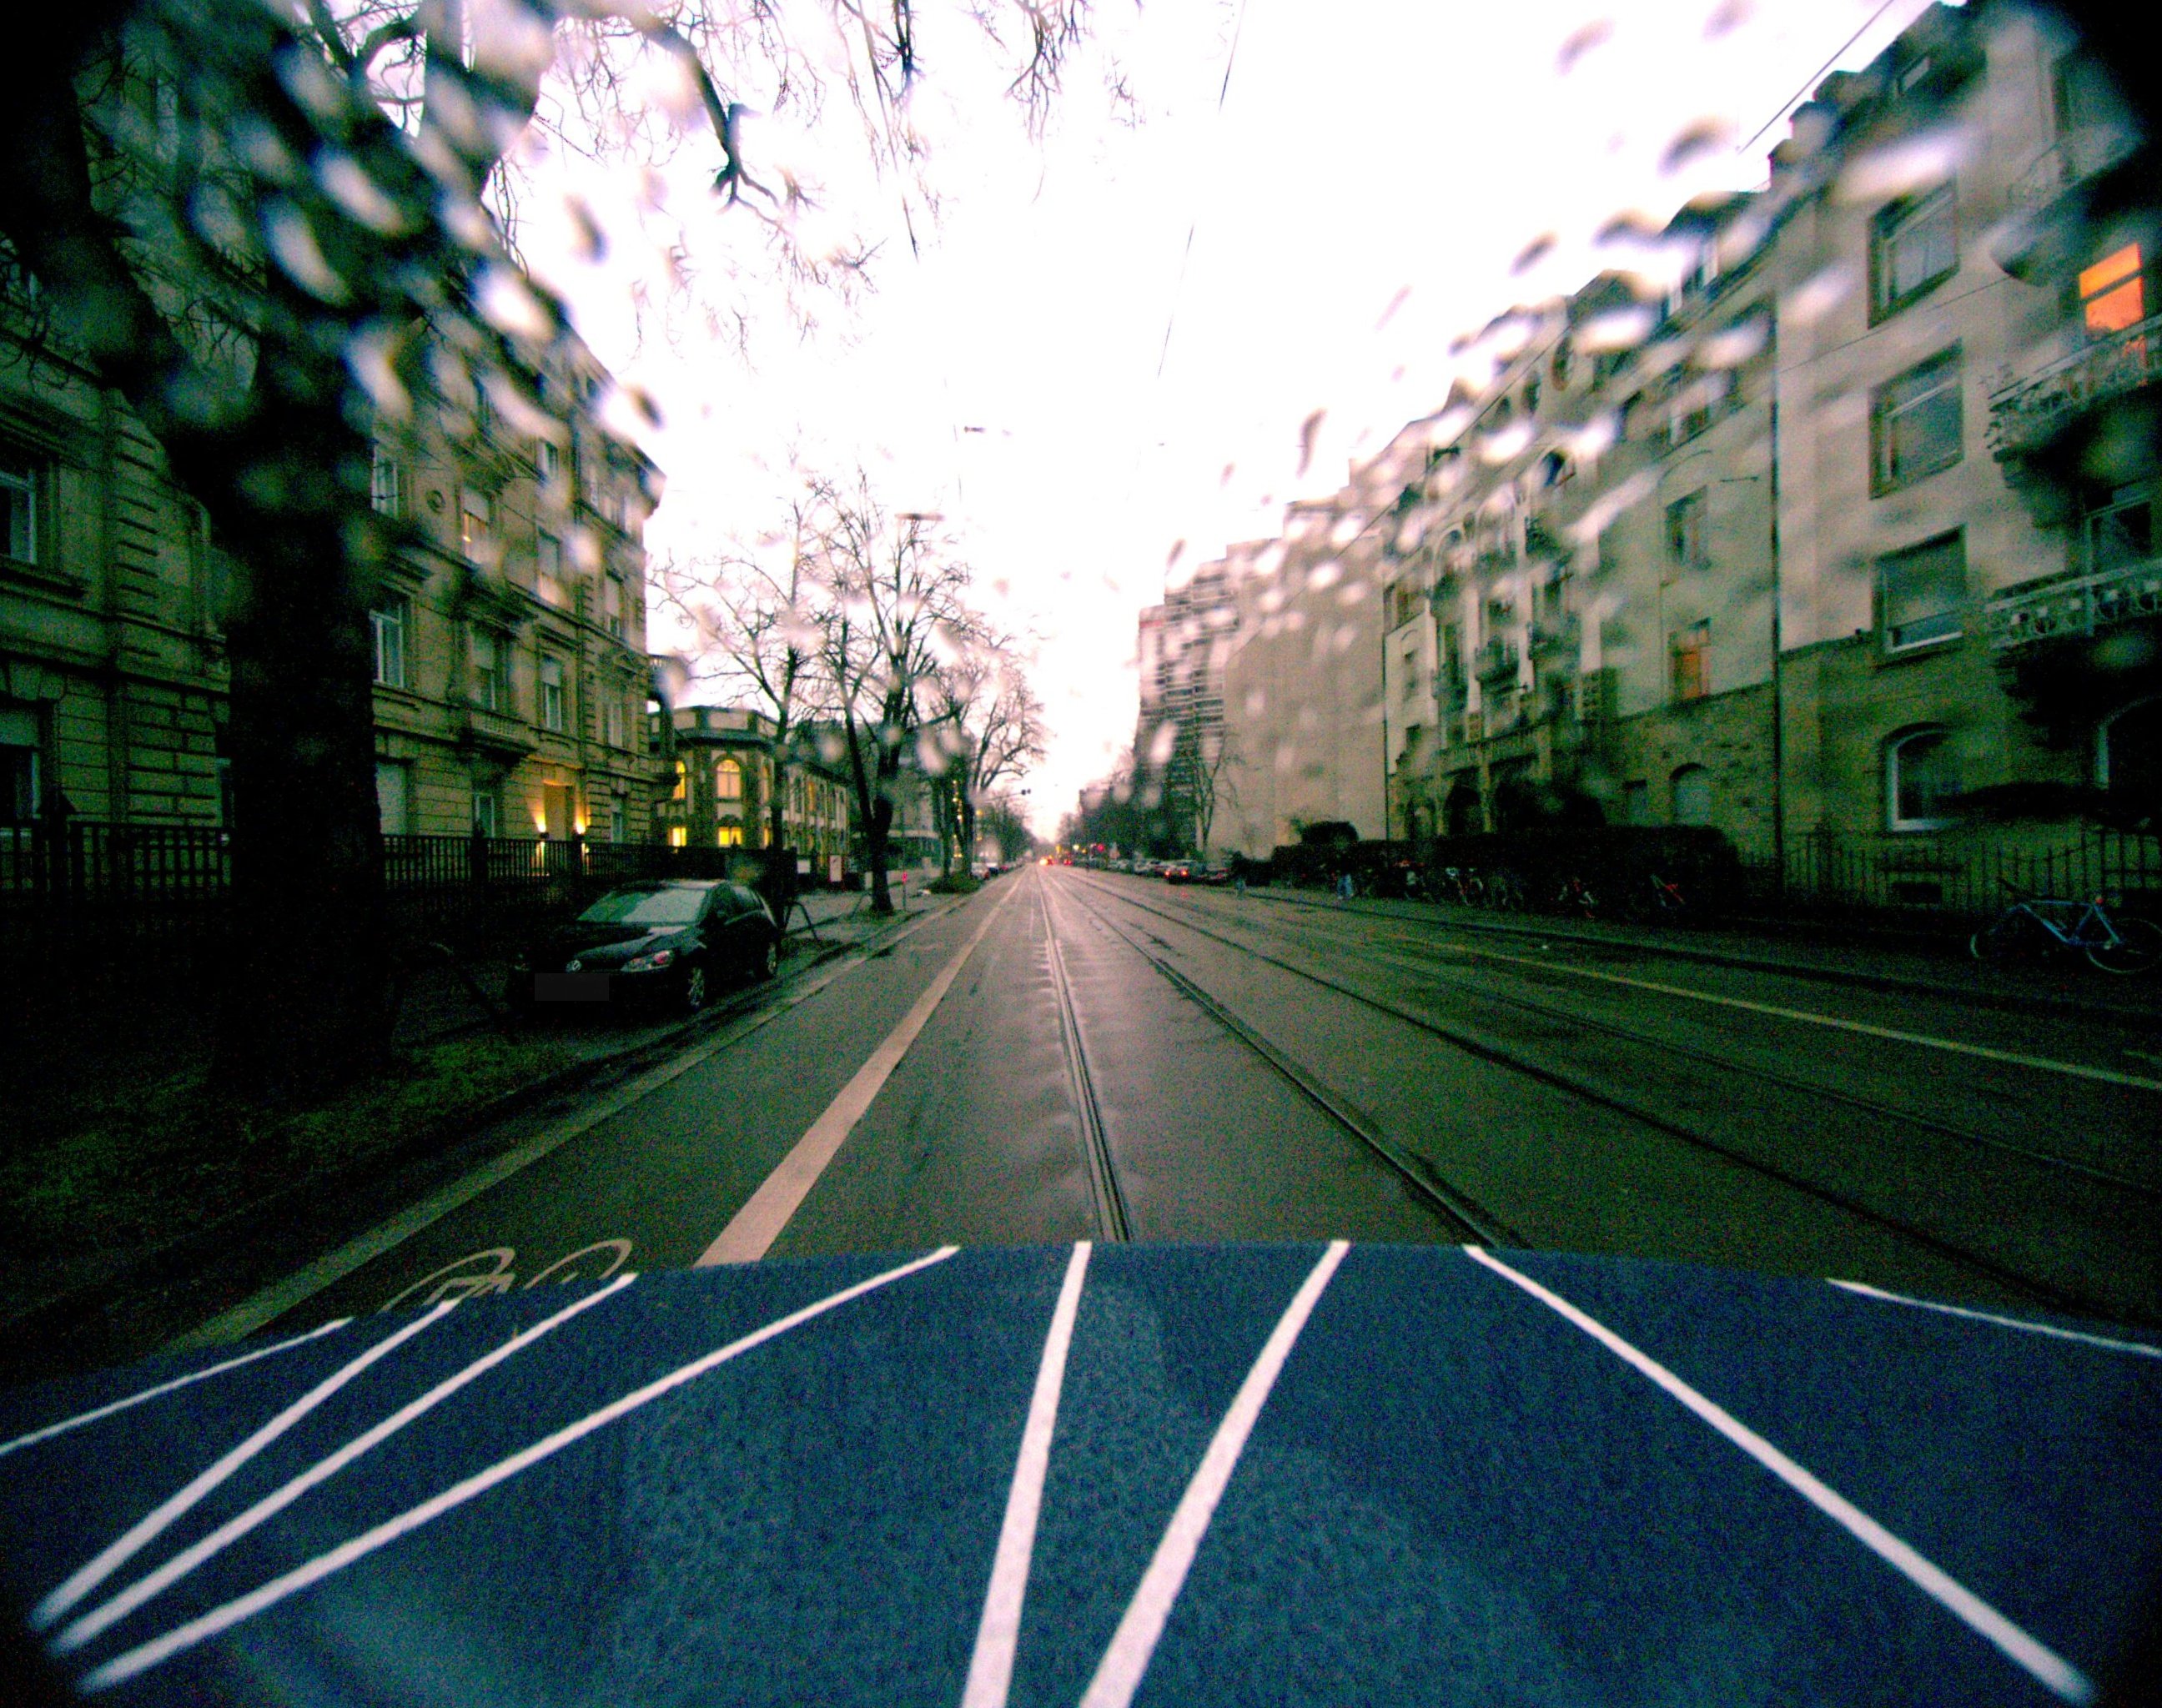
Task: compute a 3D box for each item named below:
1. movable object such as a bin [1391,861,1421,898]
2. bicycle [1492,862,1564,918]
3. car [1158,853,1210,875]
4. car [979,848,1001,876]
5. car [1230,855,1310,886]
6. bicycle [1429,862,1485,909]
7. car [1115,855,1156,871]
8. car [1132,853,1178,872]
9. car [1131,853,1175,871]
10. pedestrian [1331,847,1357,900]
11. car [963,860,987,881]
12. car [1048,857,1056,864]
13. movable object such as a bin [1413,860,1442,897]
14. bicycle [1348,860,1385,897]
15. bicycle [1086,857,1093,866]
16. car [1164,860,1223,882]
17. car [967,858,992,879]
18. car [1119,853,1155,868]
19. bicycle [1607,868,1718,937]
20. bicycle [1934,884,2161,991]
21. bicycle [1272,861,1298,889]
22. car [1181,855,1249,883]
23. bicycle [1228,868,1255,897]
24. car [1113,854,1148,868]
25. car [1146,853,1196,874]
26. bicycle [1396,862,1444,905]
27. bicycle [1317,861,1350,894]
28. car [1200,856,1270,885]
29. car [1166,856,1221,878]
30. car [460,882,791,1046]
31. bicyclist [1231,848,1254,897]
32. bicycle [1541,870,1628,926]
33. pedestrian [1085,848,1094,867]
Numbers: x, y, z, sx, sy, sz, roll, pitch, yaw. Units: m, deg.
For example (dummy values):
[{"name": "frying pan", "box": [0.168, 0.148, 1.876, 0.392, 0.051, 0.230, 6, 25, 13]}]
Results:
[{"name": "movable object such as a bin", "box": [10.552, 0.823, 24.670, 0.659, 1.157, 0.674, -1, 0, -1]}, {"name": "bicycle", "box": [10.245, 0.800, 17.478, 0.625, 1.205, 1.662, -1, 0, -1]}, {"name": "car", "box": [8.243, 0.805, 60.462, 4.008, 1.586, 1.864, -2, 0, -40]}, {"name": "car", "box": [-9.170, 0.750, 77.023, 2.094, 2.622, 5.446, -2, 1, -6]}, {"name": "car", "box": [10.140, 0.868, 40.713, 4.006, 1.485, 1.864, -2, 0, -32]}, {"name": "bicycle", "box": [9.984, 0.810, 20.231, 0.625, 1.157, 1.662, -1, 0, -1]}, {"name": "car", "box": [5.591, 0.905, 77.794, 4.008, 1.586, 1.864, -2, 0, -40]}, {"name": "car", "box": [6.813, 0.795, 69.517, 4.008, 1.586, 1.864, -2, 0, -40]}, {"name": "car", "box": [6.890, 0.773, 72.770, 4.008, 1.586, 1.864, -2, 0, -40]}, {"name": "pedestrian", "box": [8.739, 0.638, 25.238, 0.574, 1.715, 0.644, -3, 2, 1]}, {"name": "car", "box": [-7.955, 1.215, 57.180, 1.628, 1.399, 3.997, -2, 1, -6]}, {"name": "car", "box": [-8.610, 1.898, 226.825, 2.239, 2.002, 4.458, -2, 1, -5]}, {"name": "movable object such as a bin", "box": [11.239, 0.779, 24.668, 0.625, 1.157, 0.674, -1, 0, -1]}, {"name": "bicycle", "box": [9.800, 0.832, 26.133, 0.625, 1.205, 1.662, -1, 0, -1]}, {"name": "bicycle", "box": [1.077, 0.926, 92.647, 0.858, 0.986, 1.918, -2, 1, 1]}, {"name": "car", "box": [7.077, 1.046, 47.657, 3.673, 1.245, 1.707, 0, 0, -41]}, {"name": "car", "box": [-8.928, 1.229, 67.074, 2.000, 1.672, 3.997, -2, 1, -6]}, {"name": "car", "box": [6.641, 0.731, 89.192, 4.008, 1.586, 1.864, -2, 0, -40]}, {"name": "bicycle", "box": [10.437, 0.835, 13.723, 0.625, 1.119, 1.783, -1, 0, -1]}, {"name": "bicycle", "box": [10.776, 0.873, 8.477, 0.625, 0.997, 1.662, -1, 0, -1]}, {"name": "bicycle", "box": [9.079, 0.922, 33.854, 0.625, 1.157, 1.662, -2, 0, -1]}, {"name": "car", "box": [8.139, 0.890, 46.048, 4.008, 1.586, 1.864, -2, 0, -40]}, {"name": "bicycle", "box": [6.320, 1.107, 29.950, 0.625, 1.086, 1.947, -1, 0, -1]}, {"name": "car", "box": [5.935, 0.806, 91.366, 4.008, 1.586, 1.864, -2, 0, -40]}, {"name": "car", "box": [7.467, 0.807, 63.073, 4.008, 1.586, 1.864, -2, 0, -40]}, {"name": "bicycle", "box": [9.913, 0.845, 22.293, 0.625, 1.205, 1.662, -1, 0, -1]}, {"name": "bicycle", "box": [9.491, 0.860, 28.626, 0.625, 1.205, 1.662, -1, 0, -1]}, {"name": "car", "box": [8.795, 0.911, 43.156, 4.008, 1.477, 1.760, -2, 0, -40]}, {"name": "car", "box": [8.399, 0.955, 56.542, 4.008, 1.440, 1.864, -2, 0, -40]}, {"name": "car", "box": [-5.095, 1.121, 9.275, 1.762, 1.437, 4.156, 1, -1, -4]}, {"name": "bicyclist", "box": [6.308, 0.713, 29.743, 0.625, 1.865, 0.991, -1, 0, -1]}, {"name": "bicycle", "box": [10.380, 0.881, 15.728, 0.625, 1.059, 1.726, -1, 0, -1]}, {"name": "pedestrian", "box": [1.046, 0.379, 92.580, 0.952, 2.246, 1.119, -2, 1, 2]}]
